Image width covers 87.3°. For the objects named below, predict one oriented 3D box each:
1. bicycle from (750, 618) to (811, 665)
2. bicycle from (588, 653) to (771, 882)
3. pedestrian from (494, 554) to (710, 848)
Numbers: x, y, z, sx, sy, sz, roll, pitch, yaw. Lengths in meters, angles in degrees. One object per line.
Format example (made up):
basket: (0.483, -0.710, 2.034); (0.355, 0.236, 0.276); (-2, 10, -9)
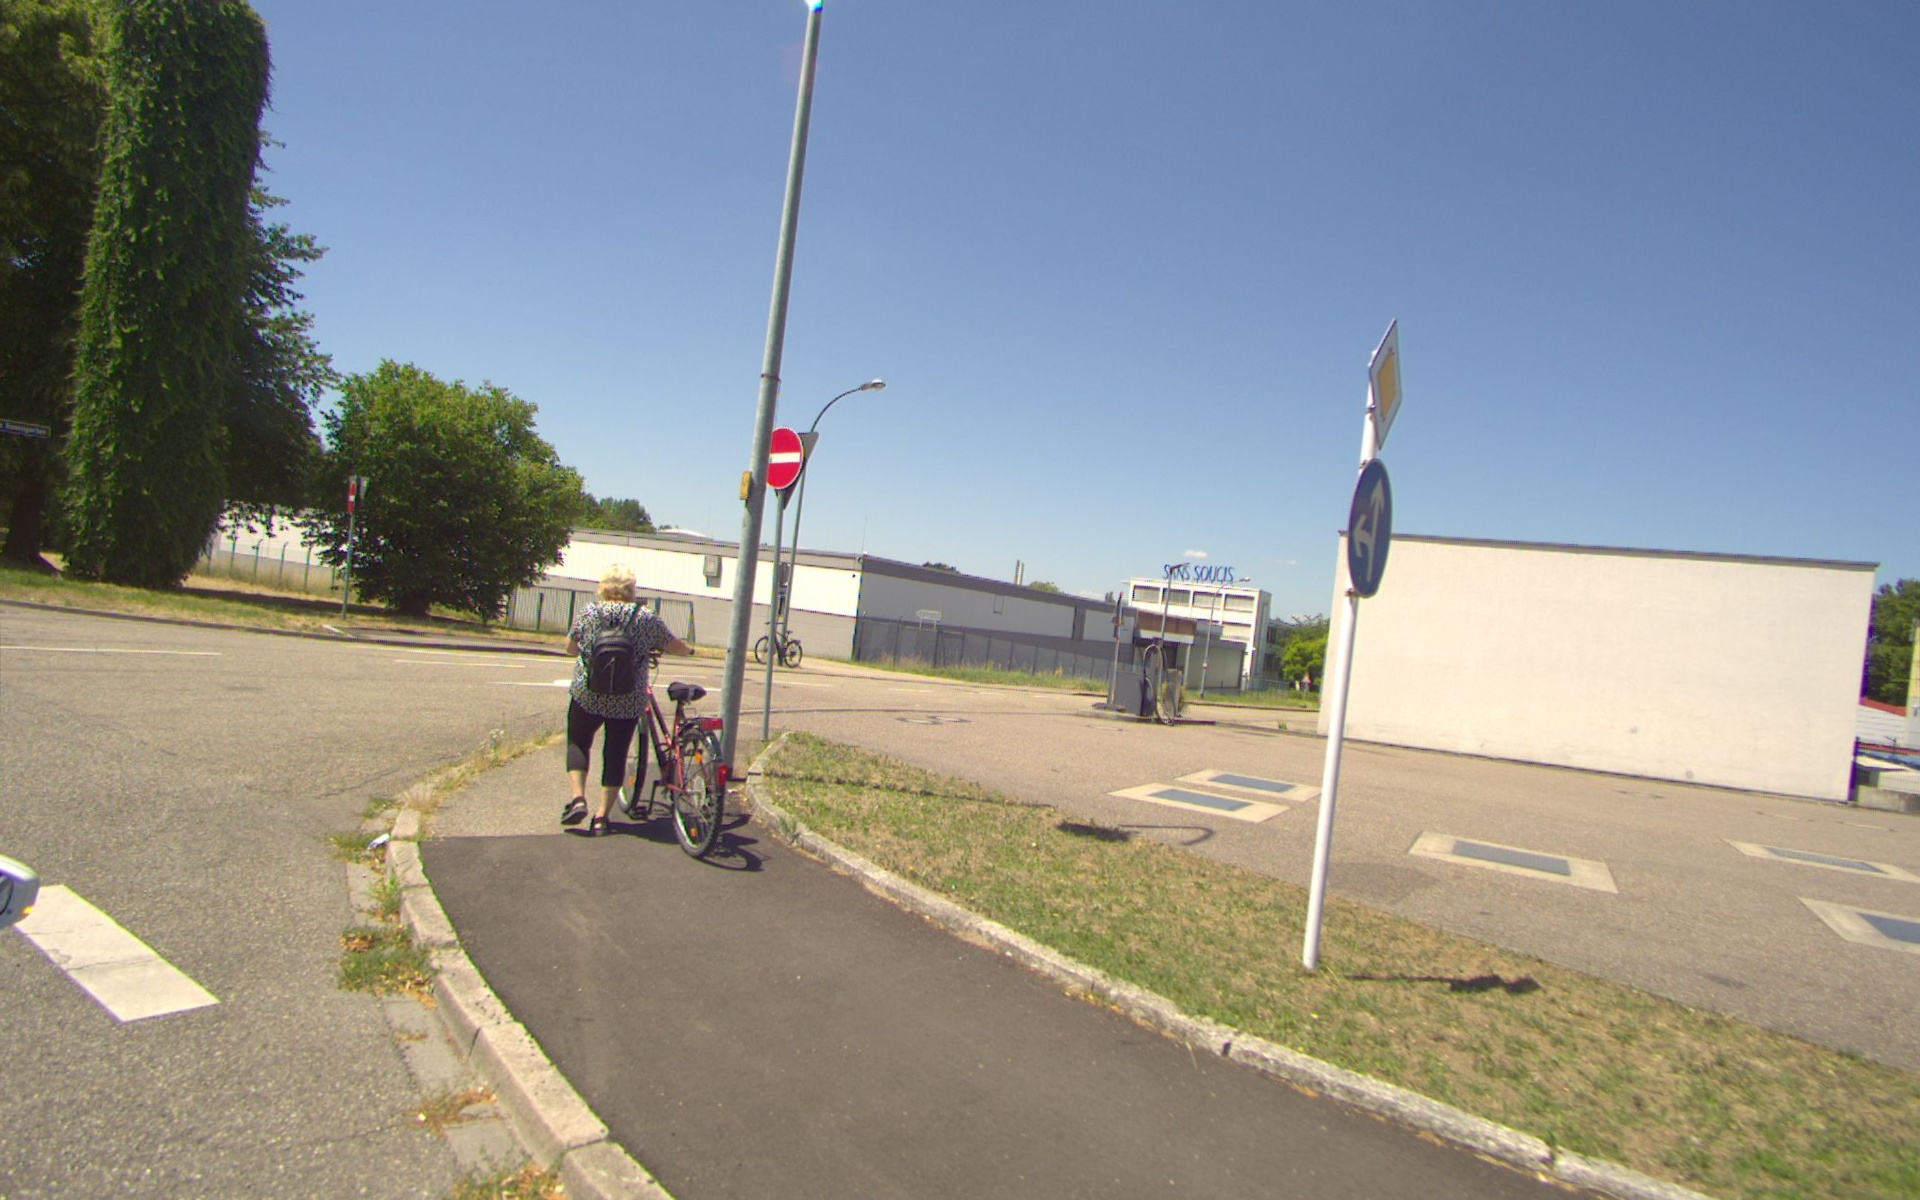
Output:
bicycle: (-4.825, 1.130, 27.169); (0.460, 1.110, 1.695); (6, -2, 35)
bicycle: (-1.564, 0.836, 5.433); (0.375, 0.923, 1.584); (7, -1, -34)
pedestrian: (-1.973, 0.525, 5.500); (0.764, 1.438, 0.860); (8, -1, -35)
